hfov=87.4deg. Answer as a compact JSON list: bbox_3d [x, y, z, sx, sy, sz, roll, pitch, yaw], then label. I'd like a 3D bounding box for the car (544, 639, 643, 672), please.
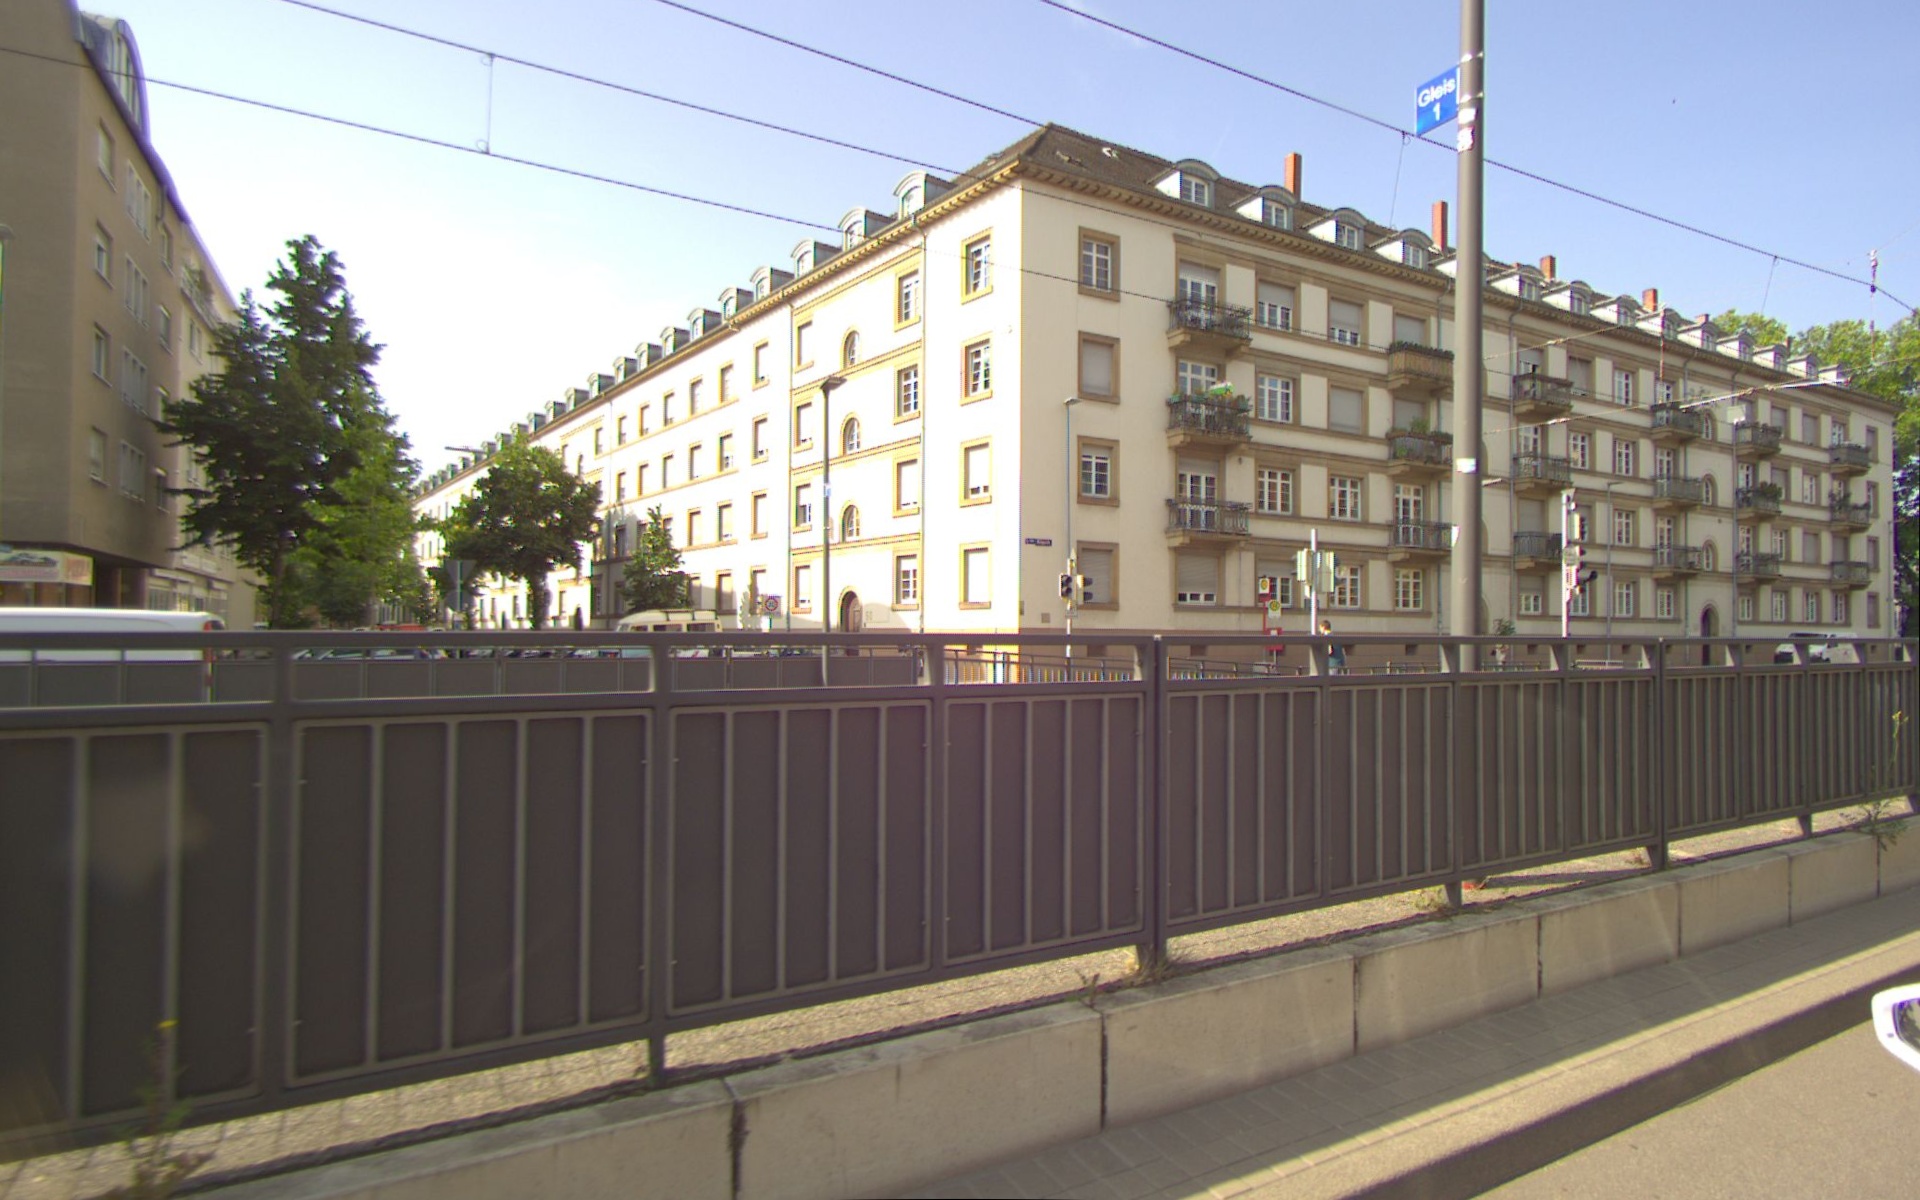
[{"bbox_3d":[-16.399,2.463,44.987,3.857,1.434,1.662,1,-2,-35],"label":"car"}]

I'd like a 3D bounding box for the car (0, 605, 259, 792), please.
[{"bbox_3d":[-11.246,1.100,11.677,4.875,2.040,1.984,1,-2,-31],"label":"car"}]

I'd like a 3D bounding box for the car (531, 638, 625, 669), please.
[{"bbox_3d":[-18.007,2.494,47.405,3.857,1.434,1.662,1,-2,-35],"label":"car"}]

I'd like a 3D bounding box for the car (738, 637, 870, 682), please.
[{"bbox_3d":[-4.988,1.874,32.360,3.962,1.372,1.569,2,-2,-36],"label":"car"}]

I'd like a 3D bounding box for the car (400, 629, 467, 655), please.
[{"bbox_3d":[-37.381,2.975,71.364,3.965,1.817,1.979,2,-2,-38],"label":"car"}]

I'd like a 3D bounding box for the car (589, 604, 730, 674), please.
[{"bbox_3d":[-11.868,1.545,39.865,5.006,2.617,1.979,2,-2,-37],"label":"car"}]

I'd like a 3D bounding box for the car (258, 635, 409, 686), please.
[{"bbox_3d":[-19.906,1.895,32.049,3.956,1.528,1.983,1,-2,-32],"label":"car"}]

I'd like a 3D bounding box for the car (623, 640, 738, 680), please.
[{"bbox_3d":[-10.535,2.241,37.978,3.887,1.434,1.662,1,-2,-35],"label":"car"}]

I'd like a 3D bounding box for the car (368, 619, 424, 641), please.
[{"bbox_3d":[-49.938,2.651,88.978,4.029,1.873,1.954,2,-2,-38],"label":"car"}]

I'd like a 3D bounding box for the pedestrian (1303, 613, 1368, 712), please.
[{"bbox_3d":[7.400,1.204,19.780,1.053,1.892,0.862,0,-2,33],"label":"pedestrian"}]

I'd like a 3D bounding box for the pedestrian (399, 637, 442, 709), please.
[{"bbox_3d":[-12.372,1.656,23.045,0.799,1.604,0.674,1,-2,-33],"label":"pedestrian"}]

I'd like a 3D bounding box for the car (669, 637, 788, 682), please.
[{"bbox_3d":[-8.356,2.116,36.435,3.887,1.553,1.662,1,-2,-35],"label":"car"}]

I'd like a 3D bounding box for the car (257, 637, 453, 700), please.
[{"bbox_3d":[-16.680,1.837,27.820,4.509,1.620,1.753,1,-2,-34],"label":"car"}]

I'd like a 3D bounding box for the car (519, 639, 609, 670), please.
[{"bbox_3d":[-19.335,2.636,49.083,3.857,1.434,1.662,1,-2,-35],"label":"car"}]

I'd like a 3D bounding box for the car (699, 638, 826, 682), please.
[{"bbox_3d":[-6.726,2.003,34.430,3.960,1.424,1.662,1,-2,-35],"label":"car"}]

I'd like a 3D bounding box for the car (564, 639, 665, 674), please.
[{"bbox_3d":[-14.881,2.423,43.339,3.857,1.434,1.662,1,-2,-35],"label":"car"}]

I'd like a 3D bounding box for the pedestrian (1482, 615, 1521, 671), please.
[{"bbox_3d":[20.757,1.630,38.494,1.142,2.096,0.839,1,-1,-29],"label":"pedestrian"}]

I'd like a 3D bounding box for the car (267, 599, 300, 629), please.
[{"bbox_3d":[-69.250,1.524,102.840,2.563,2.943,5.930,1,-2,-36],"label":"car"}]

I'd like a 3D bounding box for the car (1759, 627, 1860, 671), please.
[{"bbox_3d":[39.915,2.275,47.176,5.090,1.943,1.985,1,0,-29],"label":"car"}]
